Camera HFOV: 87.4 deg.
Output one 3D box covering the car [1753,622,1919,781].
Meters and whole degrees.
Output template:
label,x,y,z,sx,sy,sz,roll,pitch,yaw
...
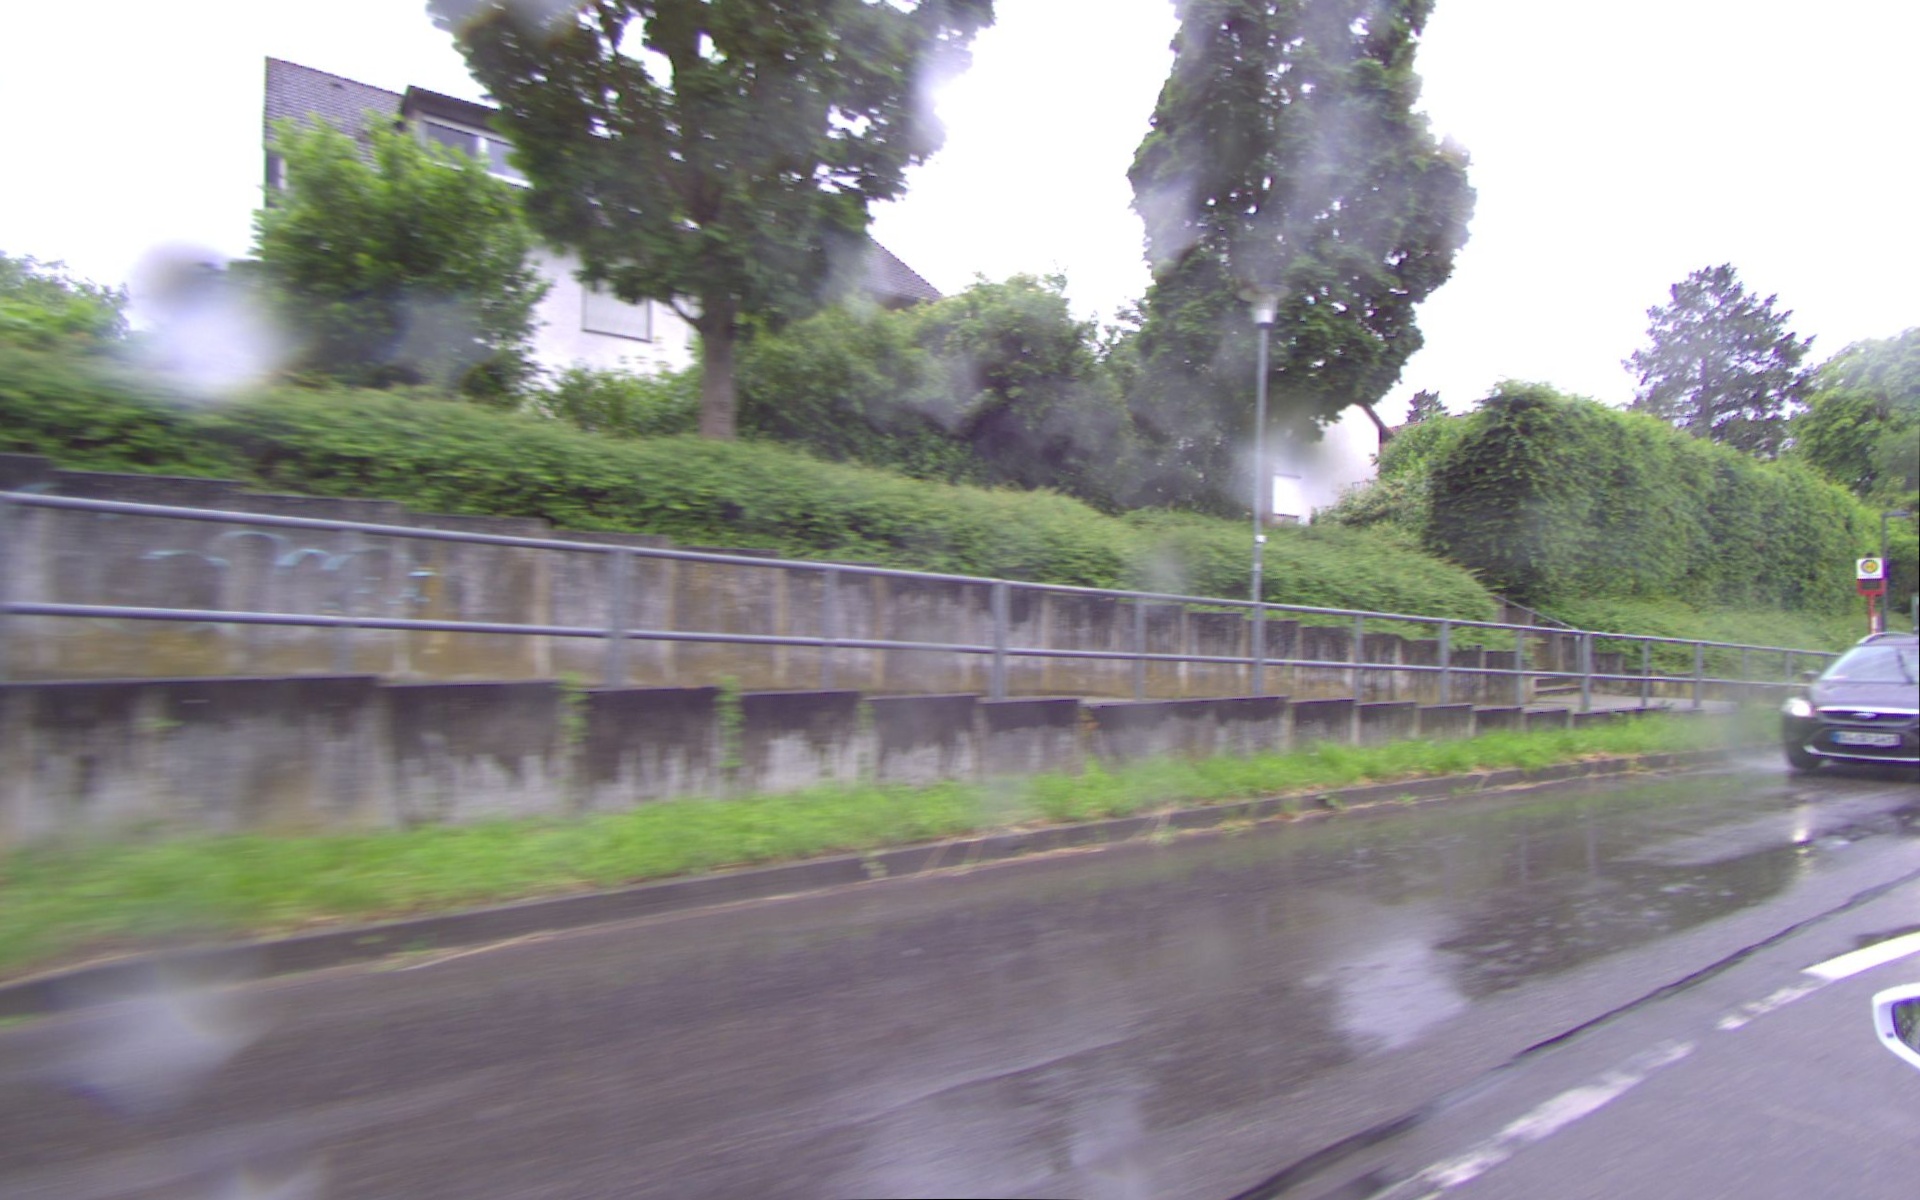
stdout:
label,x,y,z,sx,sy,sz,roll,pitch,yaw
car,10.720,1.032,11.125,4.095,1.522,1.751,1,-3,-32
